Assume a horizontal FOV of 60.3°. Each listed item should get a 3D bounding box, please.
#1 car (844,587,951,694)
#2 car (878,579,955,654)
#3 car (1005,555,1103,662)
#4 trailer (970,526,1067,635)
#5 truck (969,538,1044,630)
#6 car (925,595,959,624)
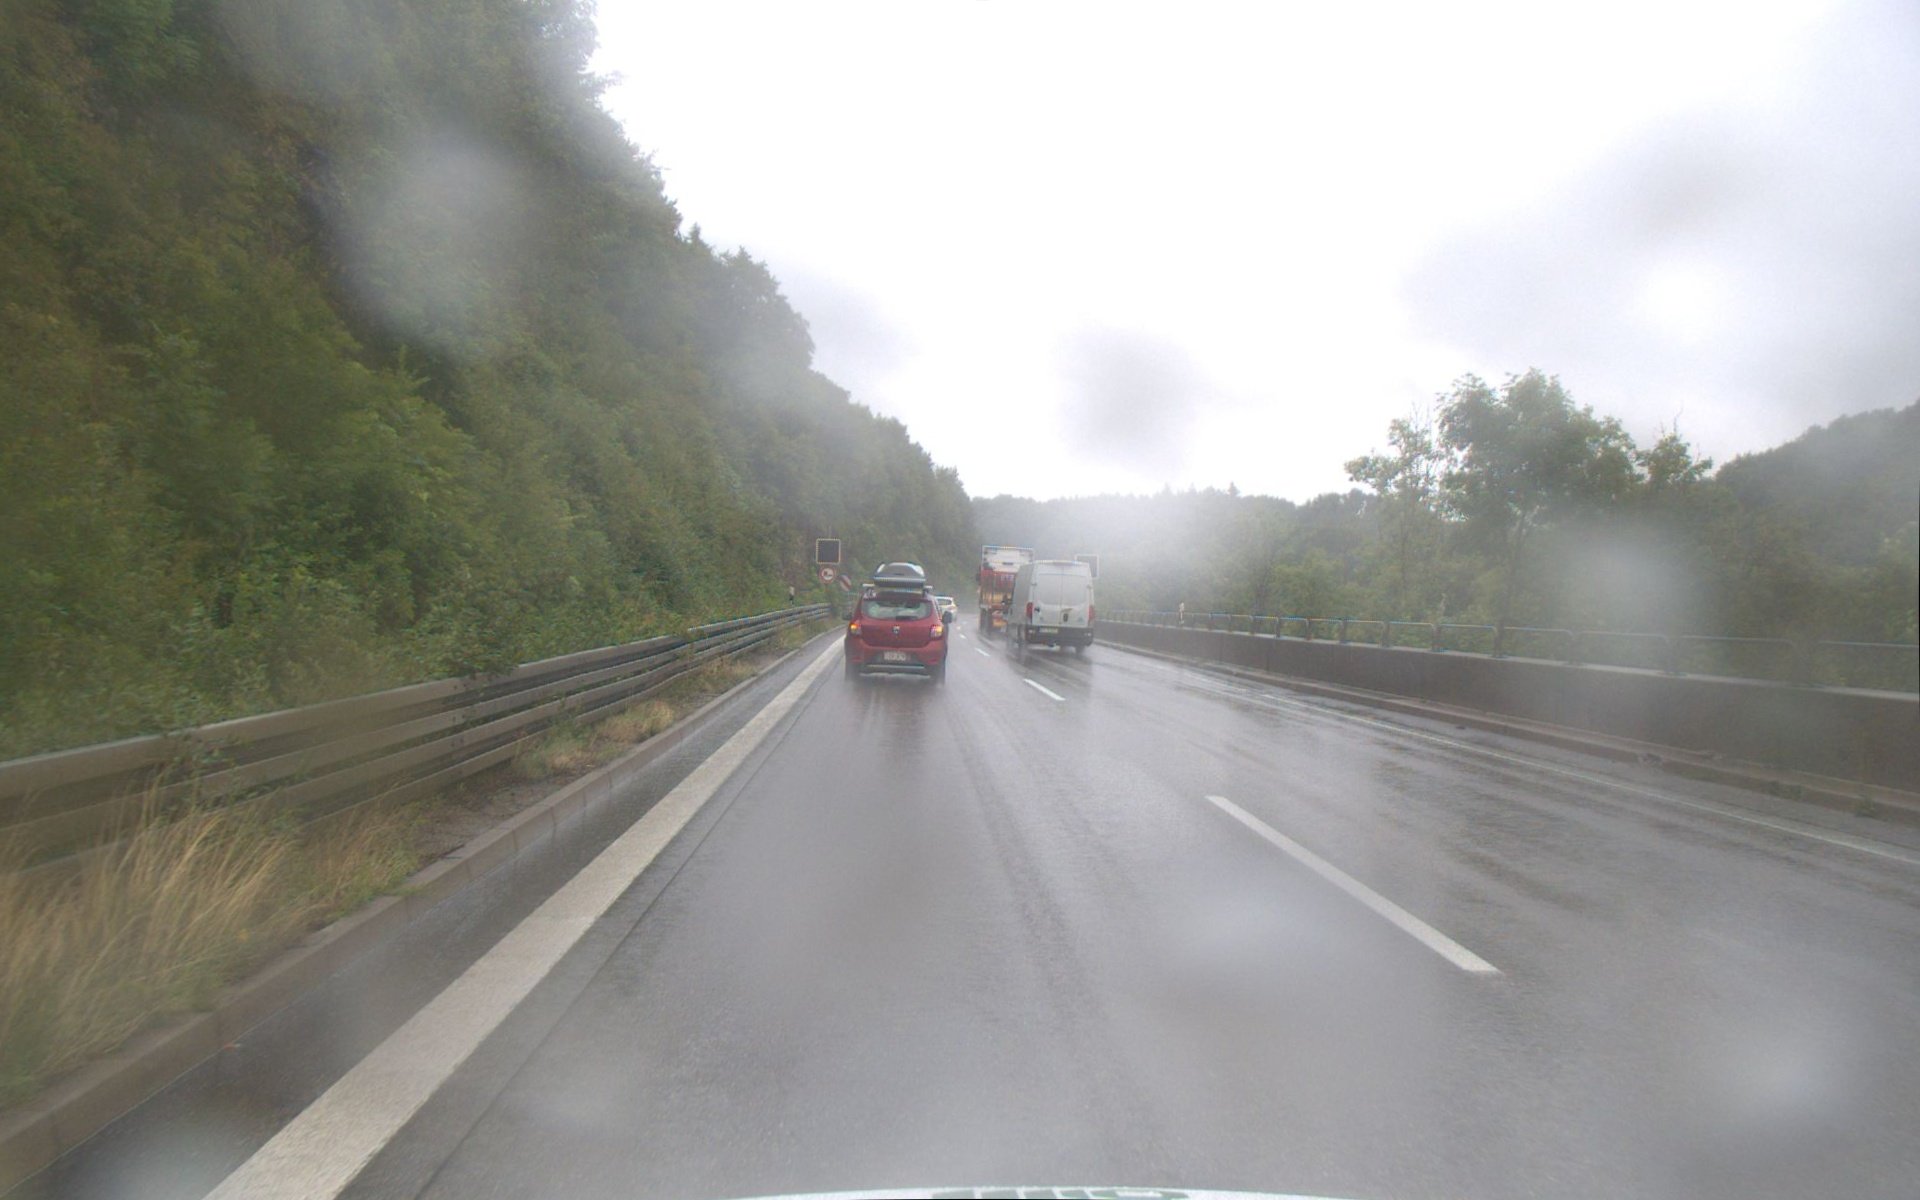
[{"bbox_3d":[-1.067,0.669,28.595,1.723,1.714,3.998,0,0,-2],"label":"car"},{"bbox_3d":[-1.070,0.393,40.525,1.796,1.745,3.643,0,-1,-2],"label":"car"},{"bbox_3d":[2.692,0.235,49.336,2.162,2.842,7.380,3,0,-2],"label":"car"},{"bbox_3d":[2.292,-0.728,70.001,3.153,4.068,13.519,2,0,-2],"label":"trailer"},{"bbox_3d":[2.111,-0.724,77.469,3.154,4.047,5.437,2,0,-1],"label":"truck"},{"bbox_3d":[-1.019,0.572,98.068,1.953,1.668,4.000,0,0,0],"label":"car"}]
